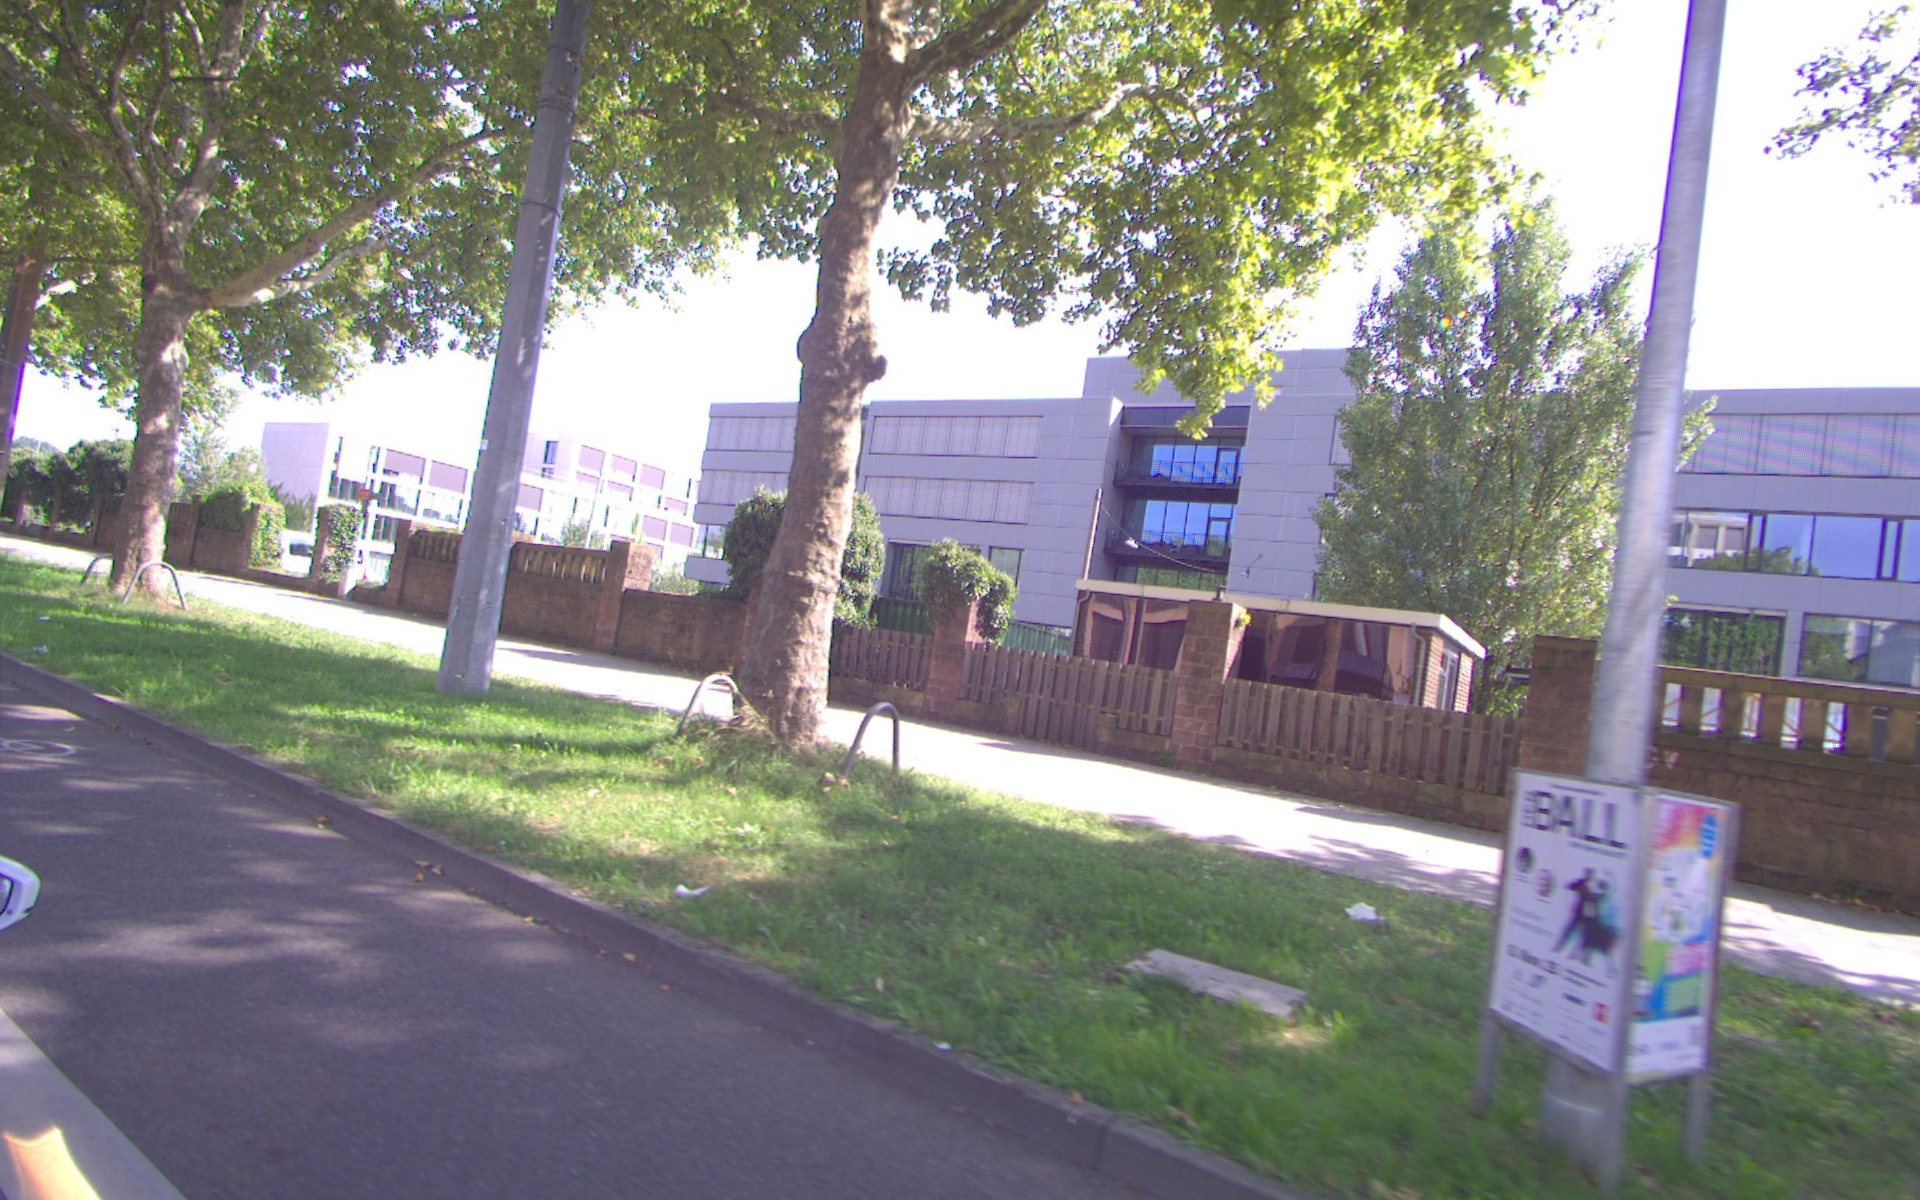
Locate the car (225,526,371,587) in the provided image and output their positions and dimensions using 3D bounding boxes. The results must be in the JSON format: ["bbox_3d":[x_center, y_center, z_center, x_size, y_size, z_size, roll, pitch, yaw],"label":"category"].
[{"bbox_3d":[-27.307,-1.756,41.672,1.877,1.753,4.533,7,-3,31],"label":"car"}]

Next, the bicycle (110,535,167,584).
[{"bbox_3d":[-20.858,-1.034,25.538,1.685,1.018,0.549,7,-2,33],"label":"bicycle"}]

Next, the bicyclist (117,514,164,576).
[{"bbox_3d":[-20.824,-1.399,25.566,0.828,1.469,0.549,7,-2,33],"label":"bicyclist"}]
